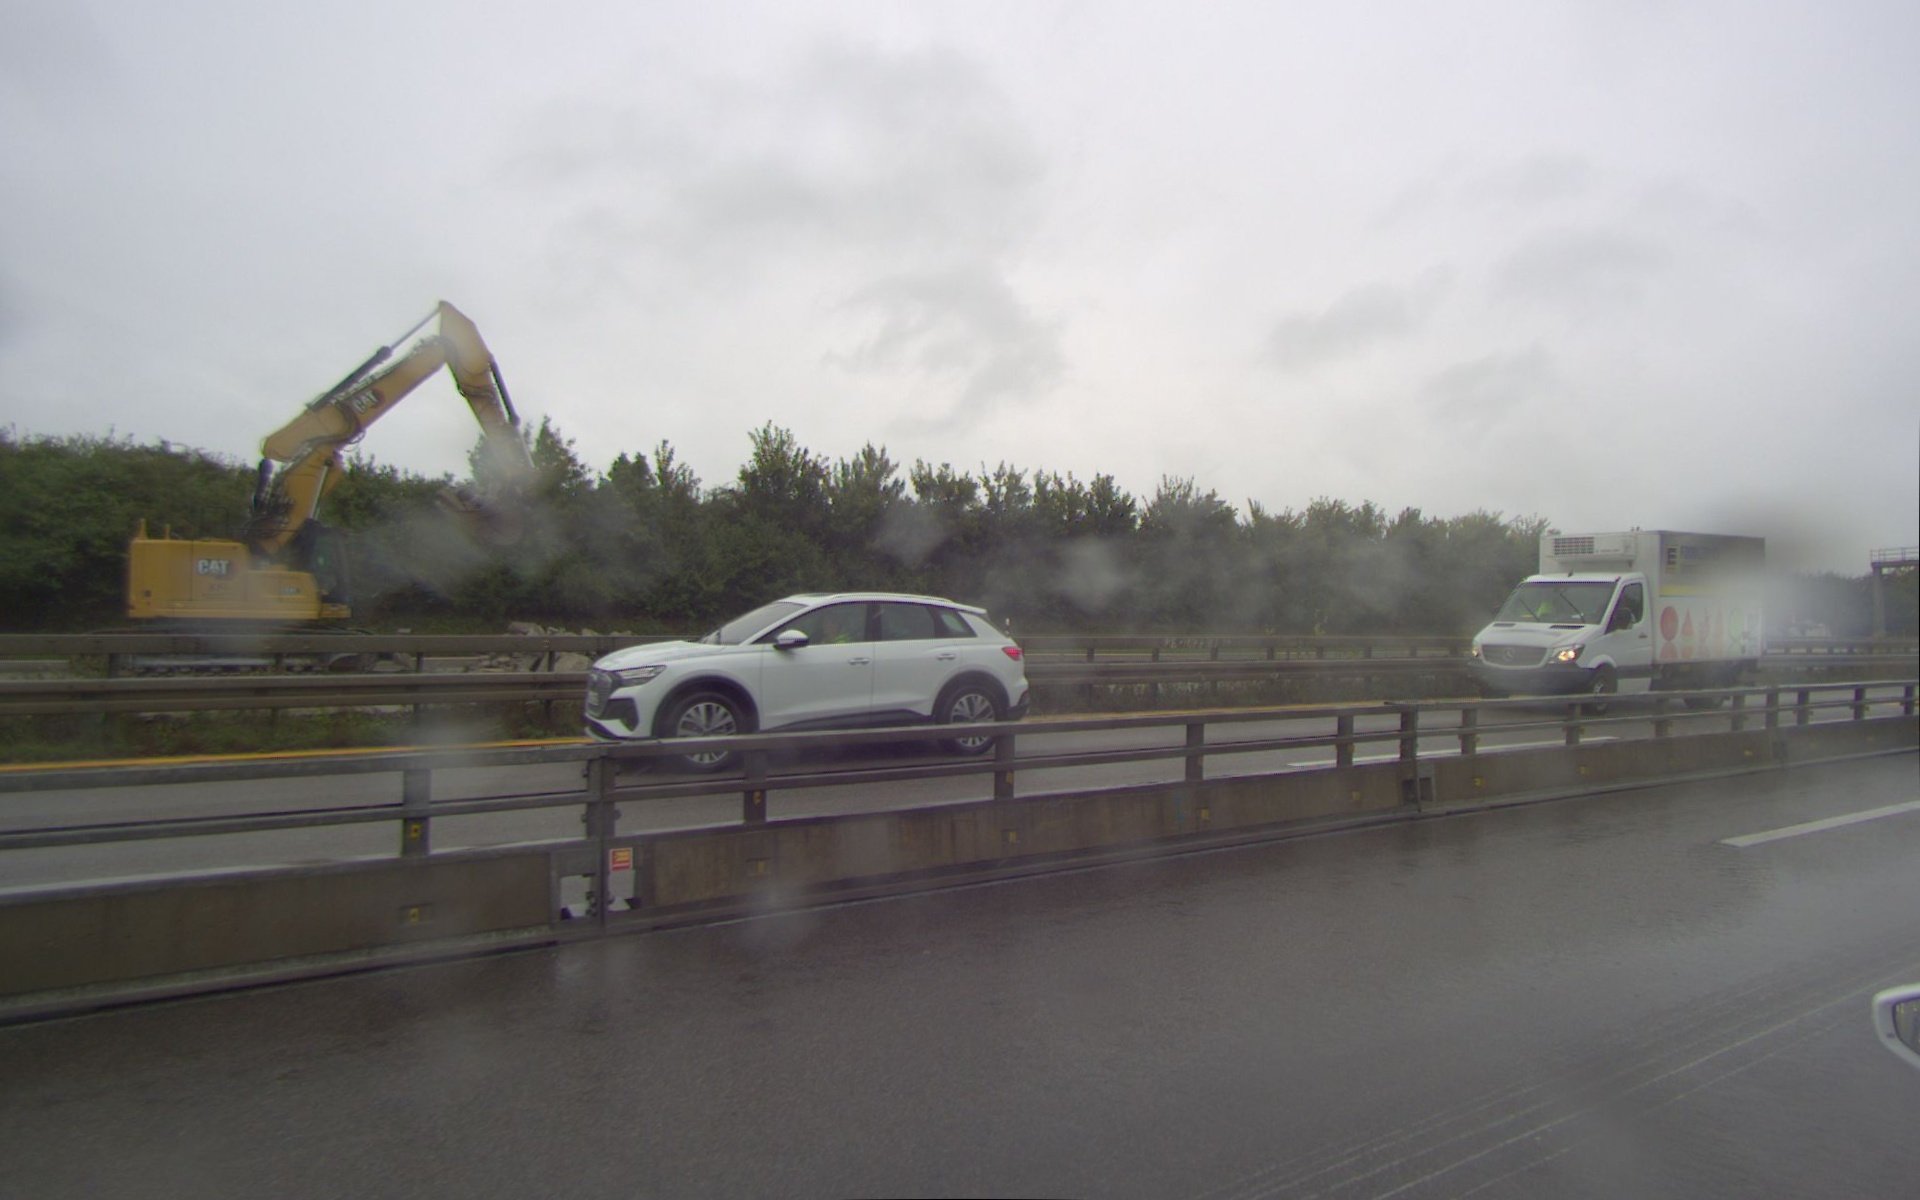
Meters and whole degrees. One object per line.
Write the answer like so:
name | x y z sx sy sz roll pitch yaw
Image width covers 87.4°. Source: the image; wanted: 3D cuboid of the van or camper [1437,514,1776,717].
van or camper | 11.648 0.314 17.921 6.621 3.081 2.282 2 0 -30

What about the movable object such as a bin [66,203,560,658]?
movable object such as a bin | -13.425 -2.993 21.882 8.207 8.252 3.580 2 0 -29

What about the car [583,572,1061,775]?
car | -1.295 0.665 10.171 4.490 1.690 1.628 2 0 -30
